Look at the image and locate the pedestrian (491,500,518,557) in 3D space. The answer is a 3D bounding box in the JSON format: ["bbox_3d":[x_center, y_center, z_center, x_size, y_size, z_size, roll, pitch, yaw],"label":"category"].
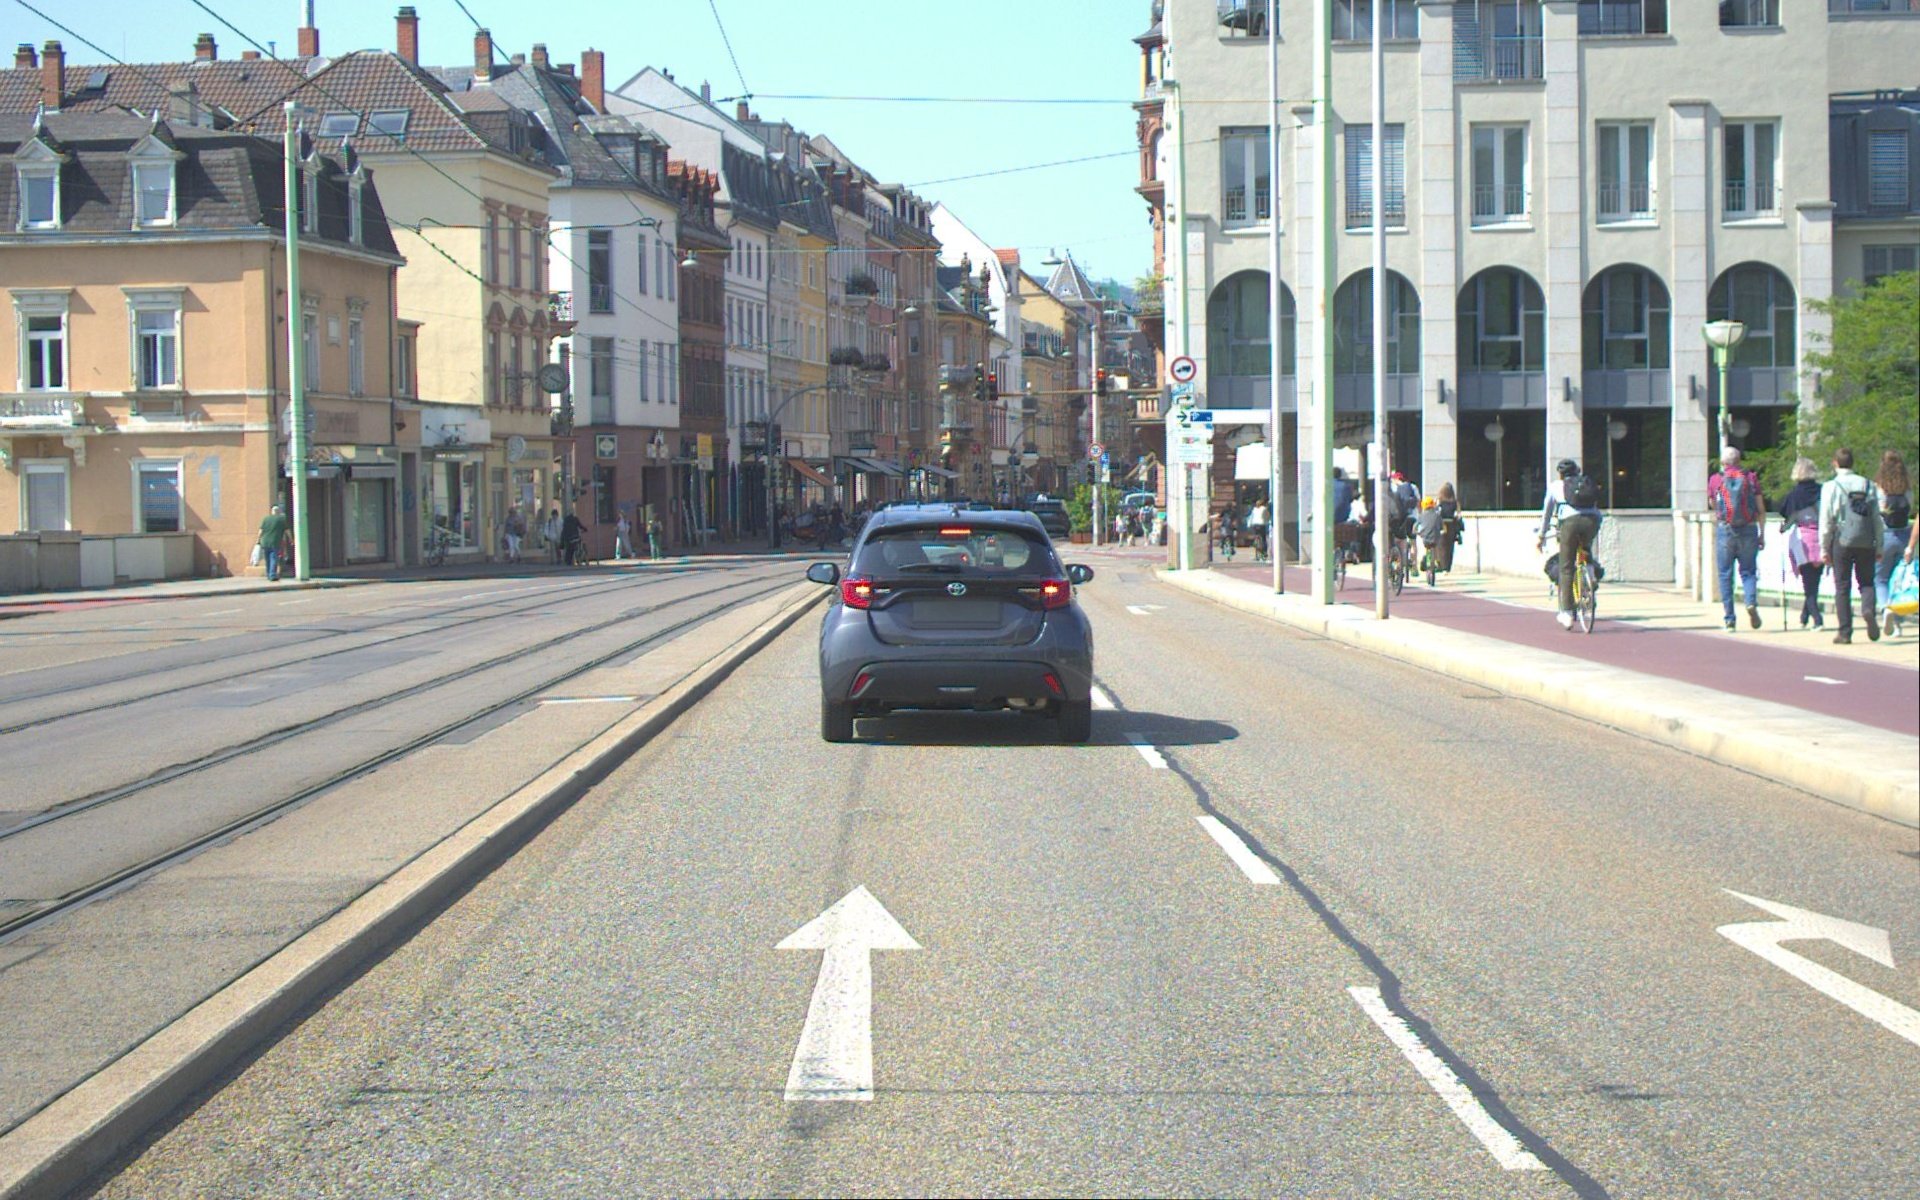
[{"bbox_3d":[-13.285,-2.091,100.271,0.649,1.596,0.566,4,4,0],"label":"pedestrian"}]

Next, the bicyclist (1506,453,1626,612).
[{"bbox_3d":[6.654,-0.746,37.788,1.139,1.689,0.924,-1,1,2],"label":"bicyclist"}]

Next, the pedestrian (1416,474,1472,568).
[{"bbox_3d":[8.581,-1.402,60.960,0.739,1.609,1.016,4,1,-1],"label":"pedestrian"}]

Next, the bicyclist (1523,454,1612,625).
[{"bbox_3d":[6.143,-0.621,34.787,0.701,1.689,0.924,-1,1,0],"label":"bicyclist"}]

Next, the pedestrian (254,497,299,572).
[{"bbox_3d":[-15.458,-1.477,77.739,0.762,1.648,0.711,4,1,2],"label":"pedestrian"}]

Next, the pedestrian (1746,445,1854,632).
[{"bbox_3d":[8.239,-0.608,33.749,0.739,1.771,1.016,-2,1,-1],"label":"pedestrian"}]

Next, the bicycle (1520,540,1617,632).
[{"bbox_3d":[6.155,-0.149,34.827,0.704,0.879,1.525,-2,2,1],"label":"bicycle"}]

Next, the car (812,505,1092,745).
[{"bbox_3d":[-0.070,0.104,23.108,1.720,1.468,3.658,1,2,-1],"label":"car"}]

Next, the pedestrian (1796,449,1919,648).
[{"bbox_3d":[7.964,-0.462,30.516,0.754,1.712,1.073,-2,1,-1],"label":"pedestrian"}]

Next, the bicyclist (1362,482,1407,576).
[{"bbox_3d":[6.102,-1.026,49.421,0.538,1.312,0.672,-3,2,4],"label":"bicyclist"}]

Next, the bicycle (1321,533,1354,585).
[{"bbox_3d":[5.798,-0.637,52.762,0.416,0.763,0.962,-2,1,3],"label":"bicycle"}]

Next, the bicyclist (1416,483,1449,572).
[{"bbox_3d":[7.410,-1.142,53.966,0.422,1.378,0.443,-2,1,0],"label":"bicyclist"}]

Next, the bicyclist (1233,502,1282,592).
[{"bbox_3d":[8.592,-1.529,99.198,1.228,2.520,1.105,4,1,4],"label":"bicyclist"}]

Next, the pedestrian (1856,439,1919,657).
[{"bbox_3d":[8.129,-0.454,28.594,0.977,1.771,1.207,-2,1,-1],"label":"pedestrian"}]

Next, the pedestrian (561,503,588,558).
[{"bbox_3d":[-11.619,-2.099,103.693,0.649,1.596,0.566,4,4,0],"label":"pedestrian"}]

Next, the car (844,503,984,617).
[{"bbox_3d":[-0.647,-0.598,48.714,1.897,1.525,4.000,1,2,-1],"label":"car"}]

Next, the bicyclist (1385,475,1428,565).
[{"bbox_3d":[7.334,-1.317,56.454,0.483,1.461,0.443,-1,4,-39],"label":"bicyclist"}]

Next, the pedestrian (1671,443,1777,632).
[{"bbox_3d":[7.476,-0.620,33.677,0.739,1.796,1.016,-2,1,-1],"label":"pedestrian"}]

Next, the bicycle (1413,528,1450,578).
[{"bbox_3d":[7.408,-0.743,54.001,0.416,0.763,0.962,-2,1,0],"label":"bicycle"}]

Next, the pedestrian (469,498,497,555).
[{"bbox_3d":[-13.980,-2.165,100.843,0.649,1.596,0.566,4,4,0],"label":"pedestrian"}]

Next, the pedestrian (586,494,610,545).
[{"bbox_3d":[-12.643,-2.802,119.972,0.736,1.760,0.787,0,3,0],"label":"pedestrian"}]

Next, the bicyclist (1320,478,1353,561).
[{"bbox_3d":[5.771,-1.233,52.738,0.422,1.252,0.443,-2,1,3],"label":"bicyclist"}]

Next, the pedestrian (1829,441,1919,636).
[{"bbox_3d":[8.543,-0.574,31.696,0.739,1.740,1.016,-2,1,-1],"label":"pedestrian"}]

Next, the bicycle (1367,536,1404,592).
[{"bbox_3d":[6.127,-0.526,49.521,0.416,0.763,1.205,-2,2,3],"label":"bicycle"}]

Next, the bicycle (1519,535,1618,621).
[{"bbox_3d":[6.667,-0.249,37.759,0.797,0.879,1.828,-2,2,2],"label":"bicycle"}]

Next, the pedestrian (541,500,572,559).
[{"bbox_3d":[-12.330,-2.162,105.111,0.736,1.760,0.787,4,1,0],"label":"pedestrian"}]

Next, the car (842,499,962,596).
[{"bbox_3d":[-0.954,-0.894,56.899,1.897,1.525,4.000,1,2,-1],"label":"car"}]

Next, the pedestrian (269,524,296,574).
[{"bbox_3d":[-15.875,-1.206,80.551,0.412,1.142,0.544,4,1,8],"label":"pedestrian"}]
